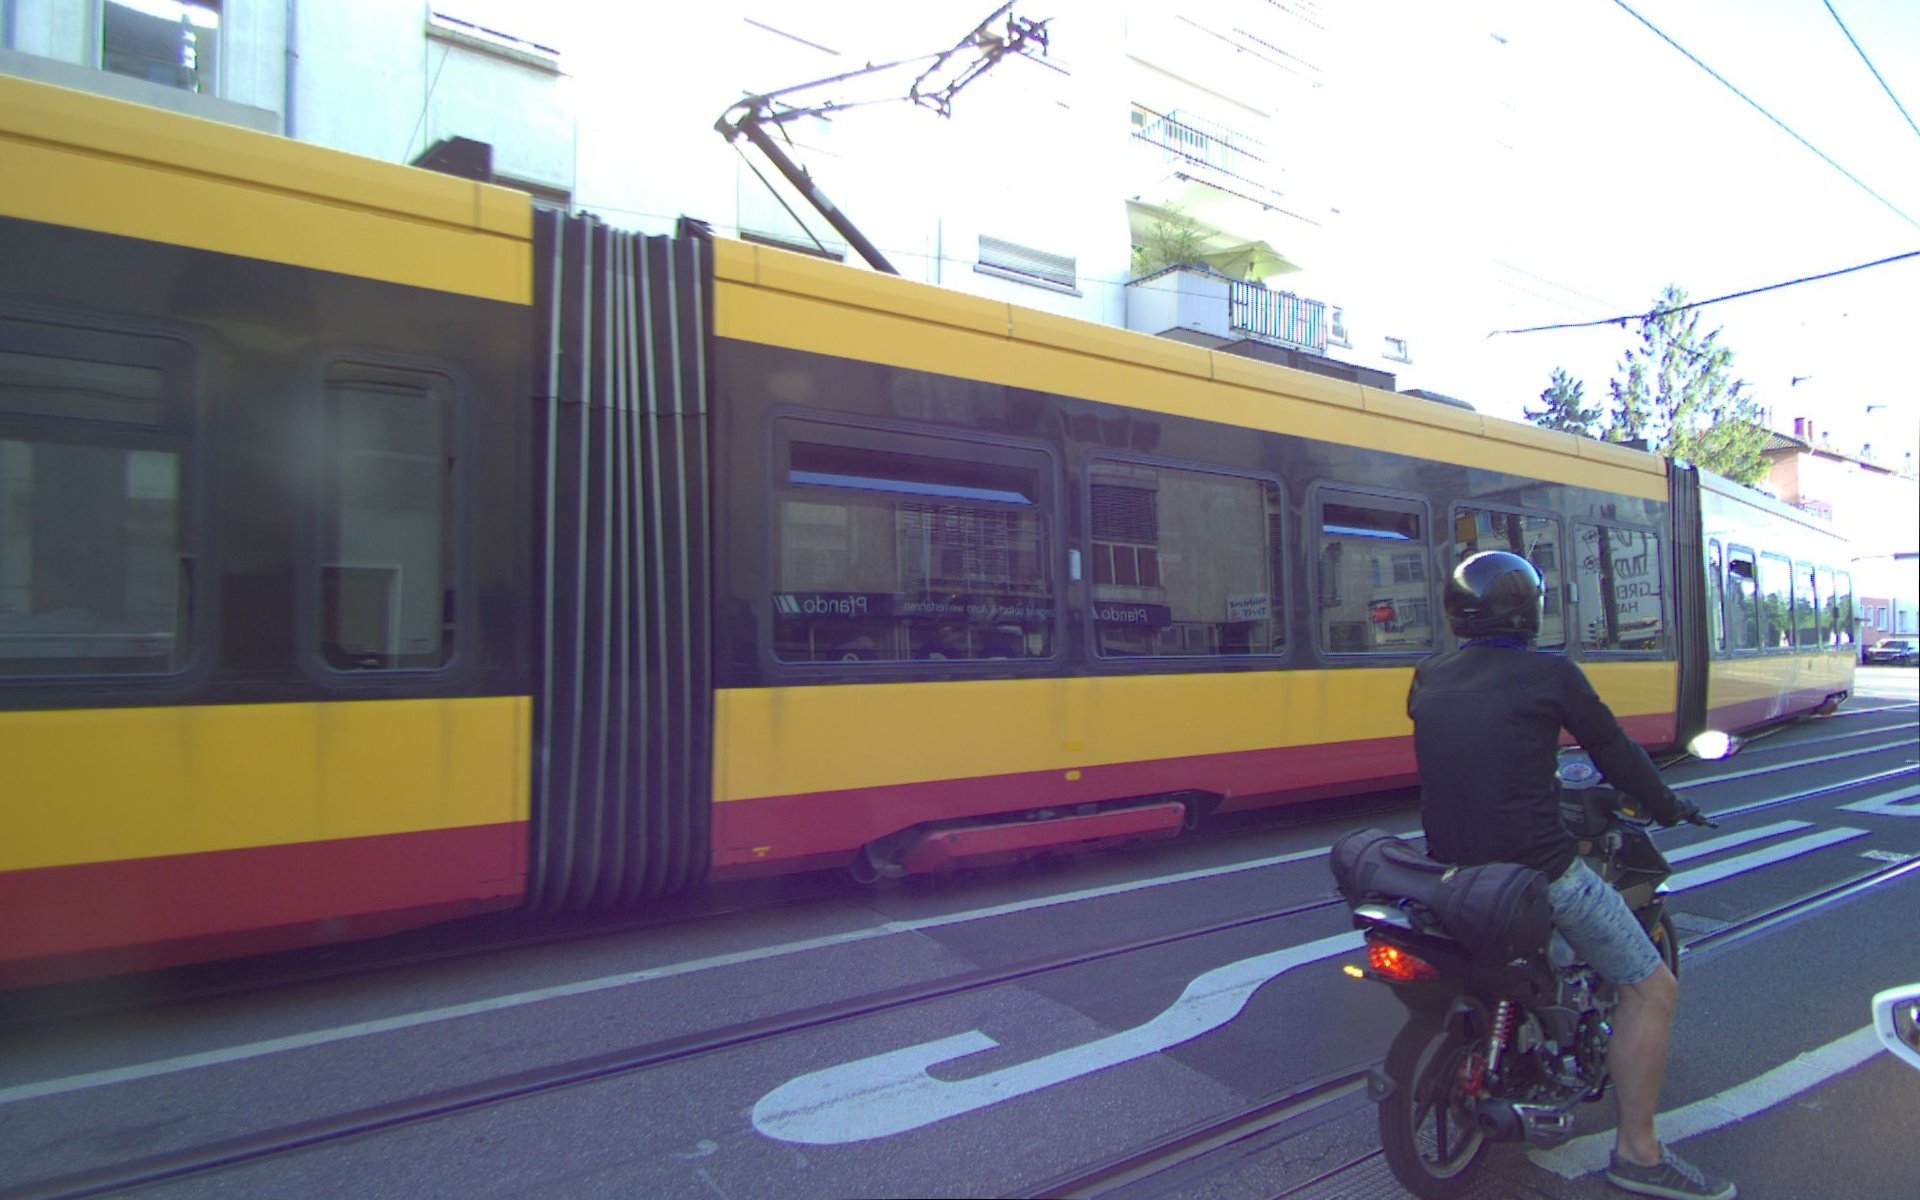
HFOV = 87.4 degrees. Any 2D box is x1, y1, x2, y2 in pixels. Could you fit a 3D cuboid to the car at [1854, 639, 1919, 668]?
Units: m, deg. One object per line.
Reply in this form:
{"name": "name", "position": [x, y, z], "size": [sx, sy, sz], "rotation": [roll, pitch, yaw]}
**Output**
{"name": "car", "position": [49.628, 2.833, 53.604], "size": [3.949, 1.440, 1.784], "rotation": [2, 0, -31]}

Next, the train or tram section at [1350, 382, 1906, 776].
{"name": "train or tram section", "position": [10.850, -0.028, 14.915], "size": [14.143, 3.680, 2.723], "rotation": [2, 0, -39]}

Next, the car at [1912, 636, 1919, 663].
{"name": "car", "position": [57.992, 2.956, 59.175], "size": [4.103, 1.531, 1.778], "rotation": [2, 0, -31]}

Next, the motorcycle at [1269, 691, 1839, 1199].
{"name": "motorcycle", "position": [1.813, 0.923, 2.938], "size": [1.958, 1.235, 0.534], "rotation": [2, 0, -31]}

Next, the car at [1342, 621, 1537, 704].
{"name": "car", "position": [9.888, 1.226, 20.636], "size": [4.030, 1.552, 1.858], "rotation": [1, -2, -34]}

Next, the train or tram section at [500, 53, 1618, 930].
{"name": "train or tram section", "position": [1.520, -0.358, 7.908], "size": [8.989, 3.679, 2.808], "rotation": [2, 0, -34]}

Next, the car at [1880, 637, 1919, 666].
{"name": "car", "position": [53.371, 2.889, 56.085], "size": [4.250, 1.518, 1.806], "rotation": [2, 0, -30]}

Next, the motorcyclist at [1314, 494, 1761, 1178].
{"name": "motorcyclist", "position": [1.537, 0.531, 2.762], "size": [0.591, 1.525, 0.856], "rotation": [2, 0, -30]}

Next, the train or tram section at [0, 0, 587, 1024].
{"name": "train or tram section", "position": [-7.539, -0.599, 1.861], "size": [12.494, 3.640, 3.045], "rotation": [2, -3, -33]}
